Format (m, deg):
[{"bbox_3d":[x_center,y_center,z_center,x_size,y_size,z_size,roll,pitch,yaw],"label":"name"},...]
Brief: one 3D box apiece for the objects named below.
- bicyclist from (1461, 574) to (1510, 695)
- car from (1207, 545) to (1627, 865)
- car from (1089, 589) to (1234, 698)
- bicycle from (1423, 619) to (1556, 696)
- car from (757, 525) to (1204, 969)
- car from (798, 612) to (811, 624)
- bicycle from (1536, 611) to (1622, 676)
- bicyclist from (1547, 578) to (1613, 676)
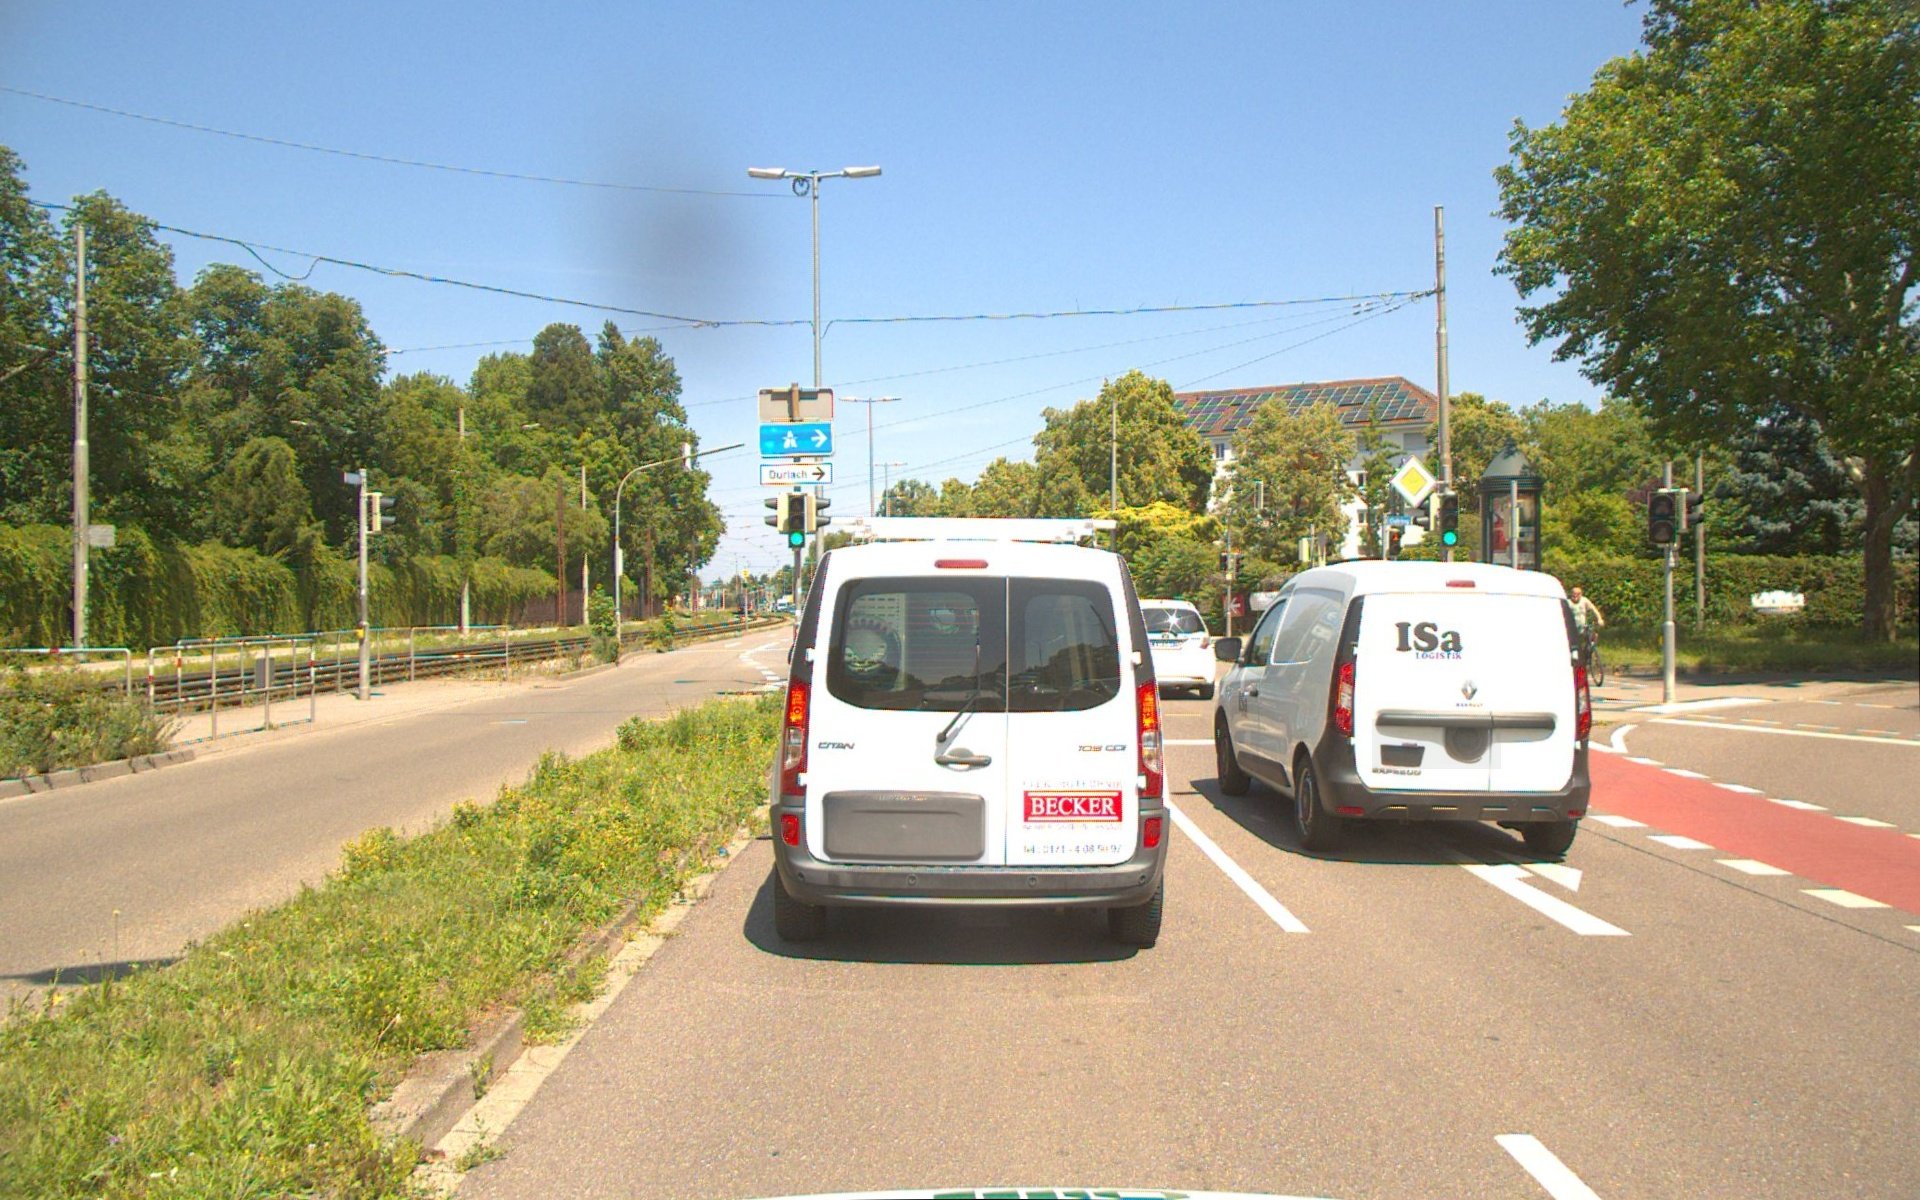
[{"bbox_3d":[8.107,0.528,25.548,0.564,1.819,0.768,1,0,7],"label":"bicyclist"},{"bbox_3d":[2.947,0.615,11.577,1.693,1.820,4.063,1,0,-2],"label":"car"},{"bbox_3d":[3.189,0.641,26.895,1.798,1.596,3.999,1,0,-1],"label":"car"},{"bbox_3d":[8.158,0.871,25.546,1.827,1.144,0.895,0,0,7],"label":"bicycle"},{"bbox_3d":[0.054,0.594,8.845,1.784,1.770,4.395,1,0,-1],"label":"car"},{"bbox_3d":[-20.824,2.356,221.099,1.664,1.539,4.061,-1,0,-6],"label":"car"},{"bbox_3d":[11.654,0.808,31.225,0.874,1.179,1.956,0,0,-1],"label":"bicycle"},{"bbox_3d":[11.692,0.499,31.204,0.953,1.819,0.726,0,-1,-1],"label":"bicyclist"}]
